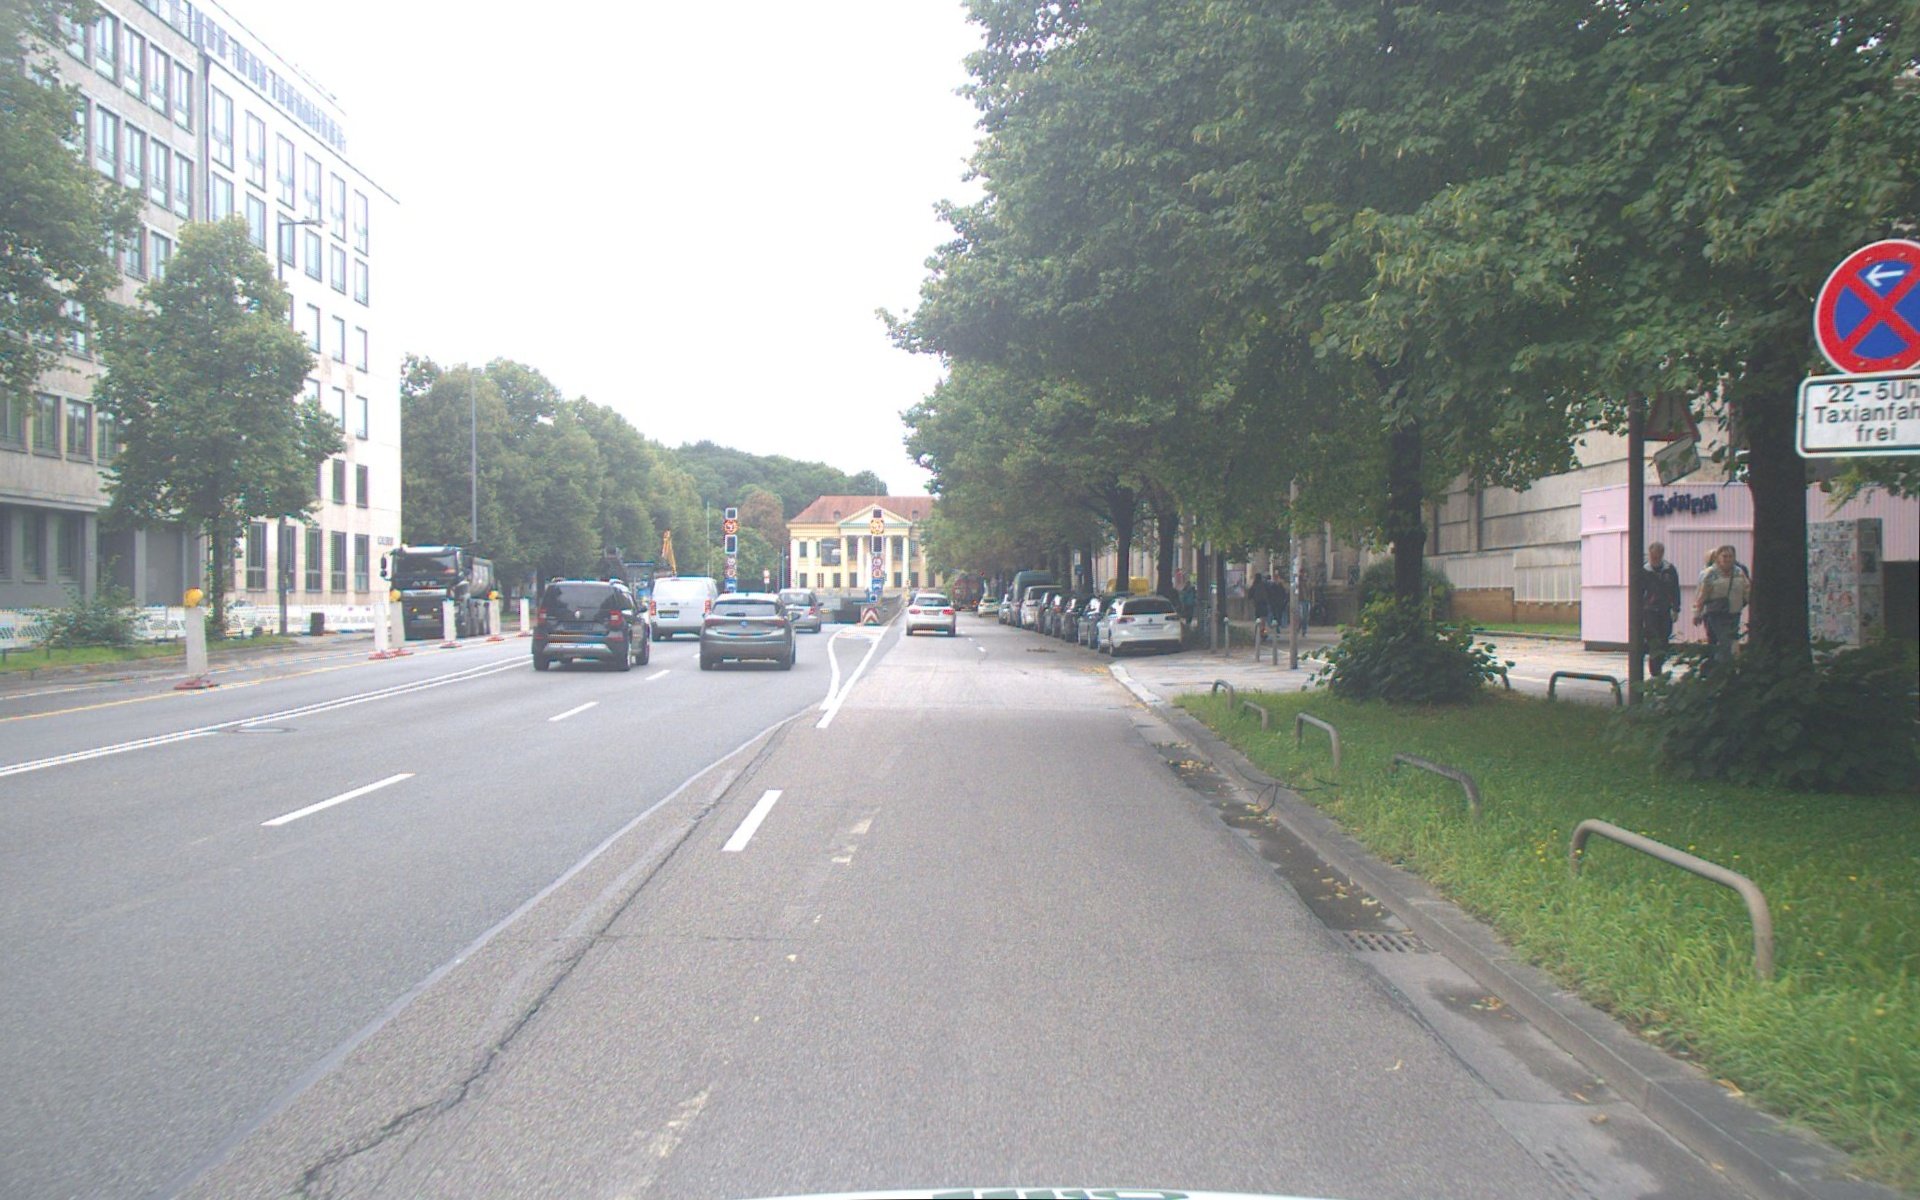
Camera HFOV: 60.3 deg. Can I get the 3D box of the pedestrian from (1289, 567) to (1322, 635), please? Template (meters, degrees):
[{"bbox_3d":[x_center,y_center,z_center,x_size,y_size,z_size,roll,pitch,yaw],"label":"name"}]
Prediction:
[{"bbox_3d":[10.013,0.024,47.954,0.748,1.943,0.771,1,0,-1],"label":"pedestrian"}]

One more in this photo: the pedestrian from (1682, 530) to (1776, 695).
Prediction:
[{"bbox_3d":[9.918,0.155,21.360,0.747,2.048,0.776,-3,0,-1],"label":"pedestrian"}]

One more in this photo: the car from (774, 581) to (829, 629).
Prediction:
[{"bbox_3d":[-5.838,0.176,61.195,1.743,1.683,3.998,1,0,-2],"label":"car"}]

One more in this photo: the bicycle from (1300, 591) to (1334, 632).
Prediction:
[{"bbox_3d":[12.899,0.419,59.780,0.685,1.440,2.298,-1,0,-1],"label":"bicycle"}]

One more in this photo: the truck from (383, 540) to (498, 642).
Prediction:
[{"bbox_3d":[-18.937,-0.326,60.757,2.789,3.415,8.744,1,0,-10],"label":"truck"}]

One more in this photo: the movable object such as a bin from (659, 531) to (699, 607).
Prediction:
[{"bbox_3d":[-24.886,-2.724,146.669,2.645,6.624,5.175,1,0,-1],"label":"movable object such as a bin"}]

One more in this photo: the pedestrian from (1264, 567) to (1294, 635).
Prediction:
[{"bbox_3d":[9.260,0.024,48.016,0.685,1.943,0.771,1,0,-1],"label":"pedestrian"}]

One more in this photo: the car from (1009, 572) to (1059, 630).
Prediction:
[{"bbox_3d":[3.567,0.036,80.530,1.954,2.689,4.875,1,0,-3],"label":"car"}]

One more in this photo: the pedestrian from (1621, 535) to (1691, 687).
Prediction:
[{"bbox_3d":[9.616,0.149,22.861,0.582,2.049,0.724,-2,0,-1],"label":"pedestrian"}]

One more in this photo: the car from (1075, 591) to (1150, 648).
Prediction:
[{"bbox_3d":[4.396,0.535,48.307,1.689,1.577,4.585,-1,0,-1],"label":"car"}]

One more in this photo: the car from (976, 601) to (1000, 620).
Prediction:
[{"bbox_3d":[2.153,0.788,127.170,1.689,1.347,4.027,-1,0,-1],"label":"car"}]

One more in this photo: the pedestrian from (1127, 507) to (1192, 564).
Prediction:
[{"bbox_3d":[7.757,-2.487,64.536,1.953,2.049,3.999,1,0,-1],"label":"pedestrian"}]

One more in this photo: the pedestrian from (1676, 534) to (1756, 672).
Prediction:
[{"bbox_3d":[10.287,0.039,22.516,0.587,1.840,0.718,-2,0,-25],"label":"pedestrian"}]

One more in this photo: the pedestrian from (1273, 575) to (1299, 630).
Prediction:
[{"bbox_3d":[11.562,0.082,58.686,0.763,1.943,0.771,1,0,-1],"label":"pedestrian"}]

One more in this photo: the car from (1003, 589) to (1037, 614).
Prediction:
[{"bbox_3d":[3.358,0.073,92.941,1.689,1.347,4.027,-1,0,-1],"label":"car"}]

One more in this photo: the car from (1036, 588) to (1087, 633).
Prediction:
[{"bbox_3d":[4.024,0.397,66.094,1.689,1.694,4.589,-1,0,-1],"label":"car"}]

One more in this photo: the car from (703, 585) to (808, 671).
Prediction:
[{"bbox_3d":[-4.031,0.516,33.143,1.675,1.579,3.999,1,0,-1],"label":"car"}]

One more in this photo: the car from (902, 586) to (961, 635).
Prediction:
[{"bbox_3d":[-1.065,0.350,59.521,1.745,1.673,3.994,1,0,-6],"label":"car"}]

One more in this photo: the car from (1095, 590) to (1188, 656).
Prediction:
[{"bbox_3d":[4.588,0.560,42.420,1.790,1.577,4.751,-1,0,-1],"label":"car"}]

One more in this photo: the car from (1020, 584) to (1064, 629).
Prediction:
[{"bbox_3d":[3.594,0.274,73.347,1.689,1.900,4.027,-1,0,-1],"label":"car"}]

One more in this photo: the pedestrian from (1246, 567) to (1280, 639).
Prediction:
[{"bbox_3d":[8.231,0.079,44.946,0.763,1.943,0.771,1,0,-1],"label":"pedestrian"}]

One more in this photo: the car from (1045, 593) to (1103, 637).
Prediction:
[{"bbox_3d":[4.088,0.519,59.869,1.785,1.490,4.027,-1,0,-1],"label":"car"}]

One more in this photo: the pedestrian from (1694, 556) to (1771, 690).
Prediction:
[{"bbox_3d":[10.884,0.324,23.323,0.587,1.840,0.718,-2,0,-25],"label":"pedestrian"}]

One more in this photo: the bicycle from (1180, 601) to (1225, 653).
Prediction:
[{"bbox_3d":[6.122,0.665,41.861,0.616,1.252,2.617,1,0,-3],"label":"bicycle"}]

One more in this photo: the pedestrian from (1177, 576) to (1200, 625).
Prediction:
[{"bbox_3d":[9.138,0.009,66.207,0.763,1.943,0.771,1,0,-1],"label":"pedestrian"}]

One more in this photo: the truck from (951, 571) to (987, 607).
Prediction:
[{"bbox_3d":[0.837,-1.113,164.461,3.258,3.426,8.660,1,0,-1],"label":"truck"}]

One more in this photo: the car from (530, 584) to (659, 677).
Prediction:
[{"bbox_3d":[-6.978,0.547,31.949,1.688,1.665,4.203,0,0,-2],"label":"car"}]

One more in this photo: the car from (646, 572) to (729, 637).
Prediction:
[{"bbox_3d":[-8.265,0.140,50.528,1.860,1.880,4.954,0,0,-2],"label":"car"}]
